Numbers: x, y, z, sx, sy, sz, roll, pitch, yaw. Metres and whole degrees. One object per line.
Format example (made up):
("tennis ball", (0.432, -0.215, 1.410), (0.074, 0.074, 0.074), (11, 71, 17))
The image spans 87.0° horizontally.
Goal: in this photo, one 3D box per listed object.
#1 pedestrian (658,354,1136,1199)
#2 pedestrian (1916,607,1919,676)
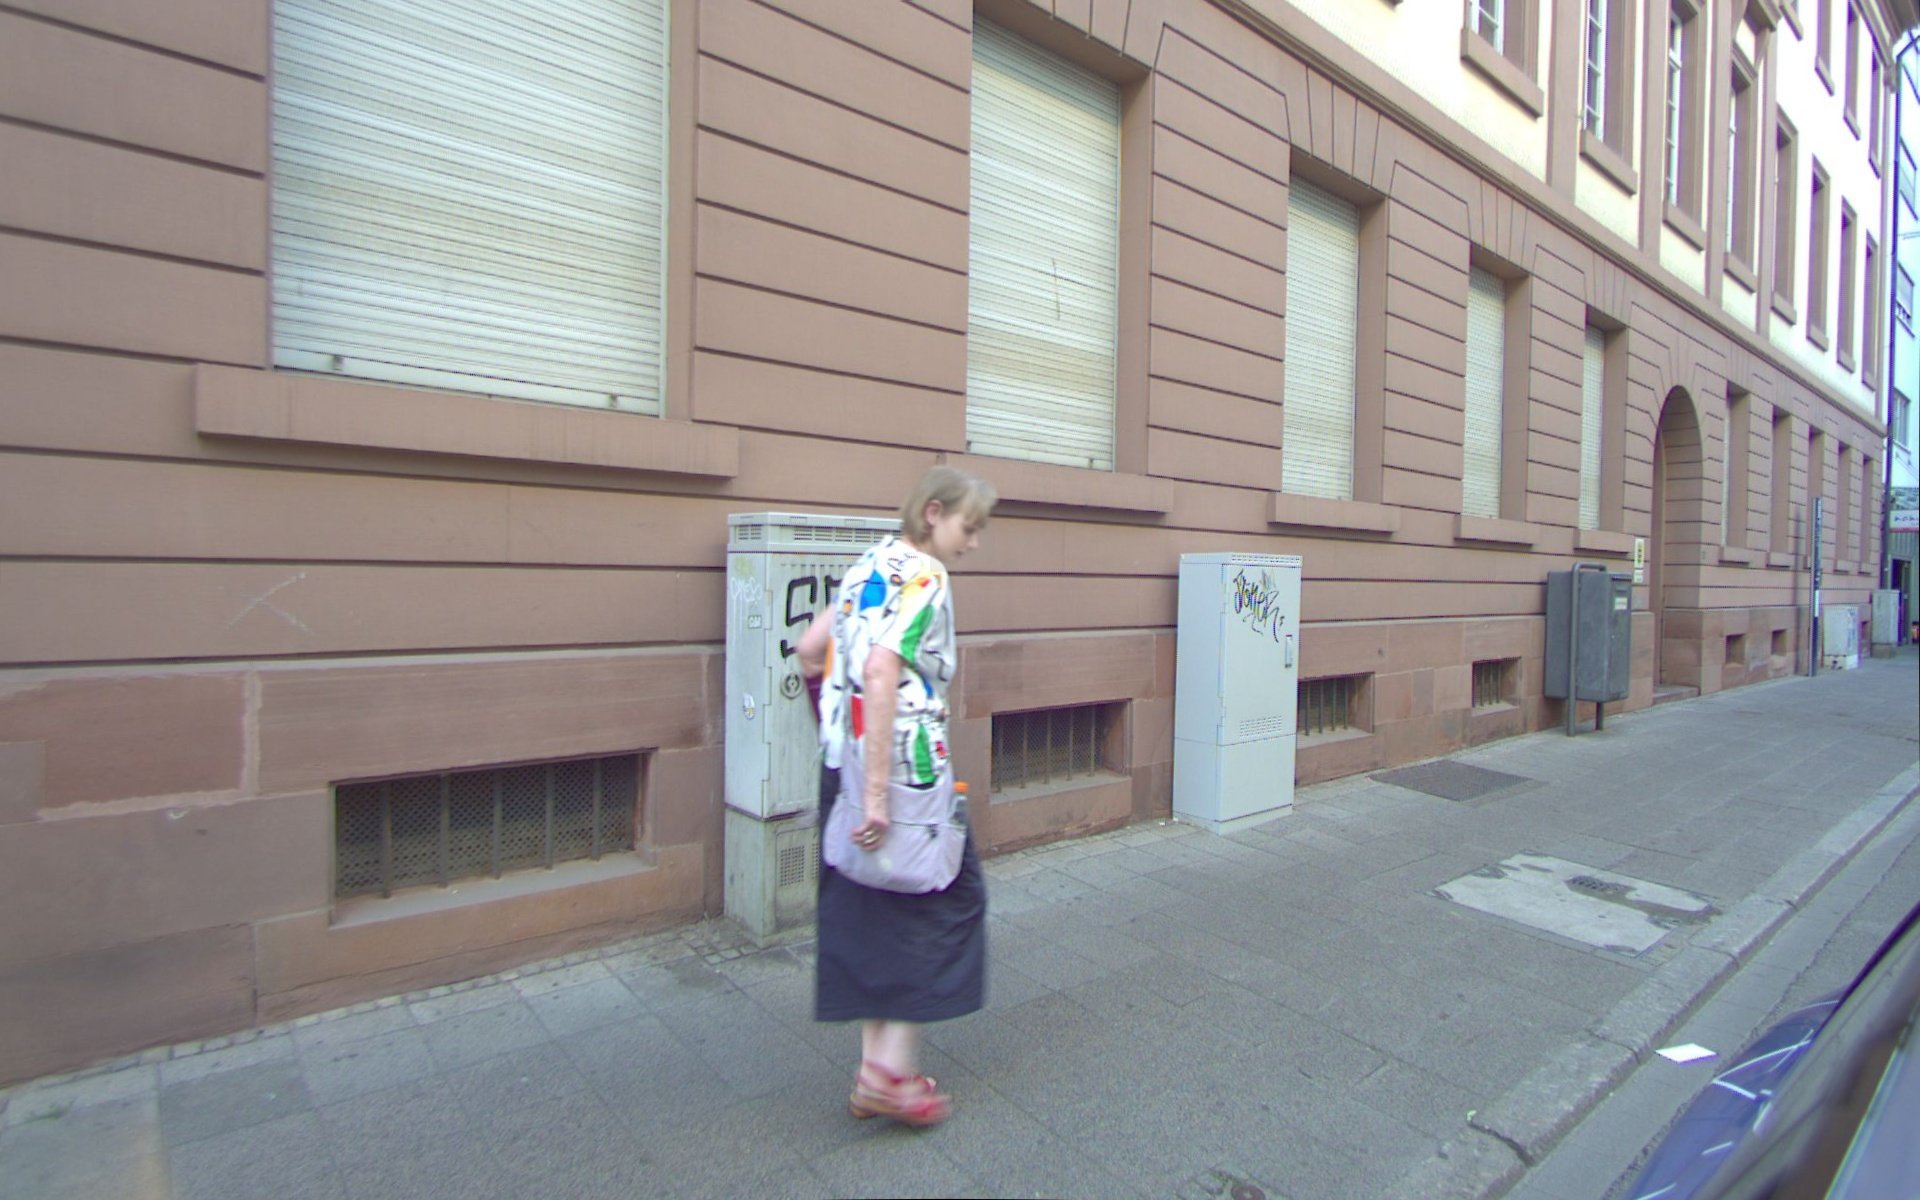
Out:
("pedestrian", (-0.207, 0.362, 2.718), (0.880, 1.824, 0.849), (0, 6, -35))
("pedestrian", (25.233, 1.083, 26.197), (0.592, 1.794, 0.639), (0, 1, -45))
